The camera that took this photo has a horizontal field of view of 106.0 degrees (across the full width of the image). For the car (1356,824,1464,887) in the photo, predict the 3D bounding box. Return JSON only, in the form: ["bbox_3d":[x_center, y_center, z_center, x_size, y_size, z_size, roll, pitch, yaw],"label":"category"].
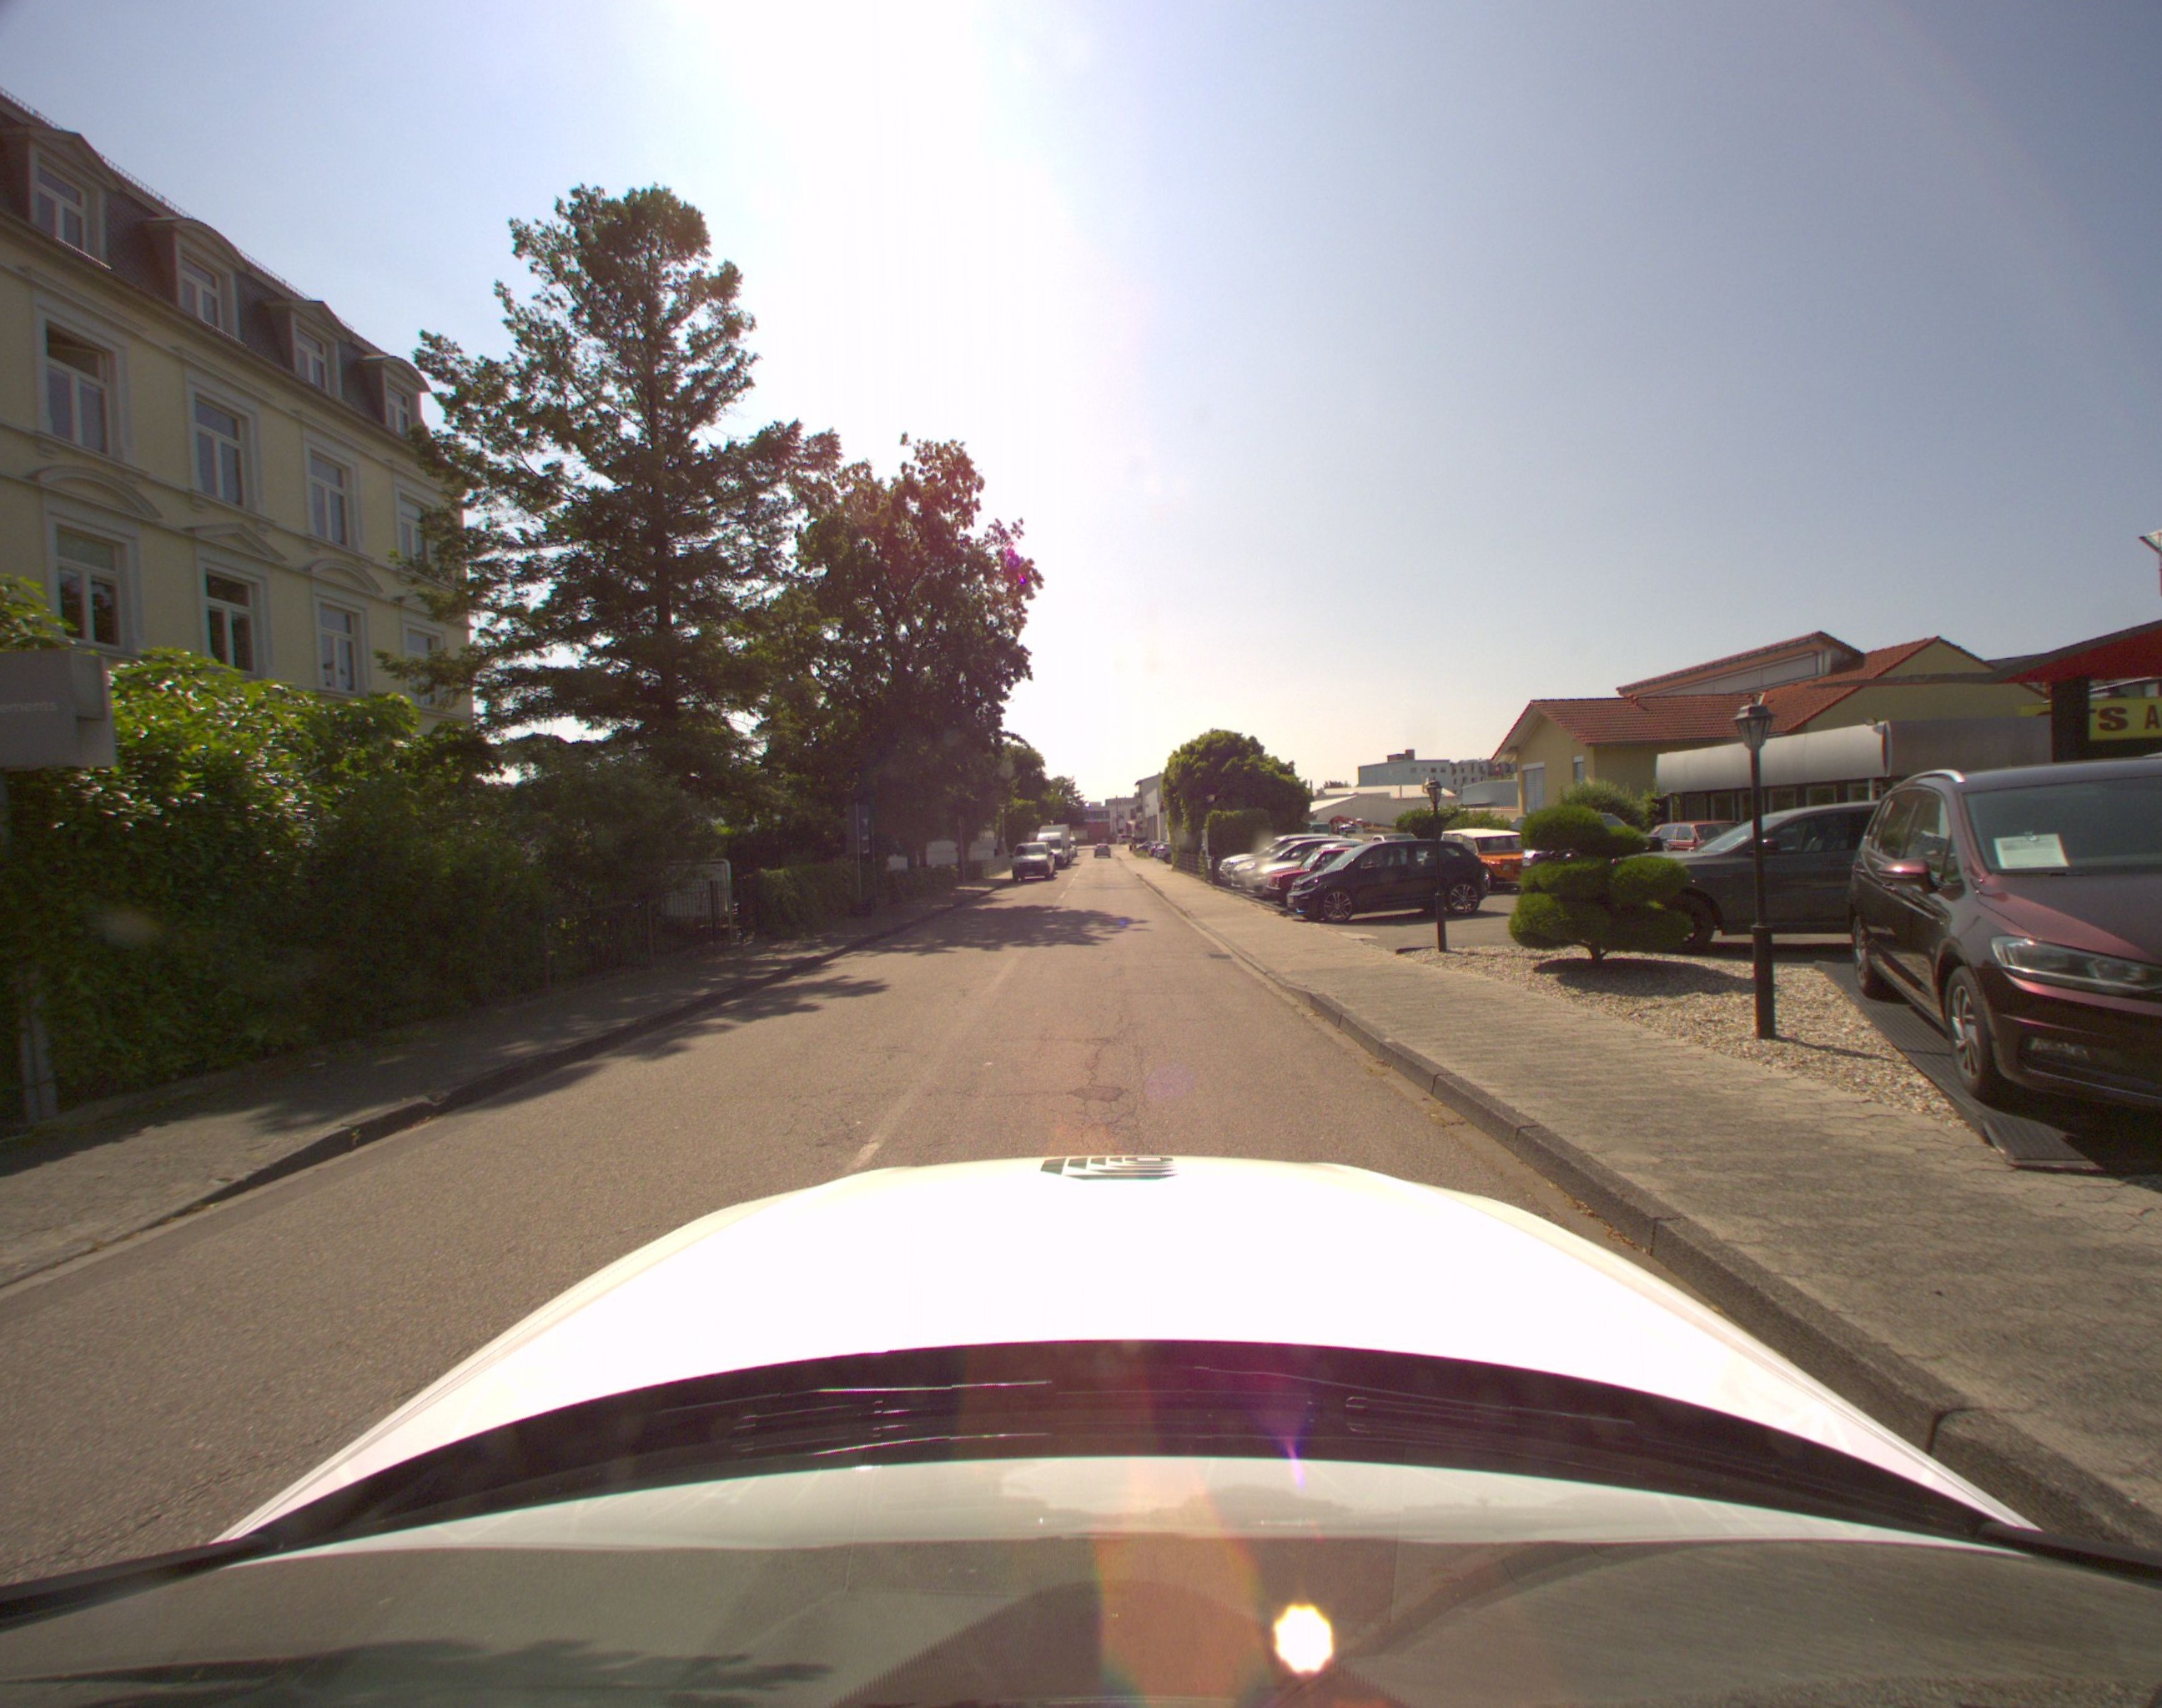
[{"bbox_3d":[10.541,0.045,26.400,1.987,1.860,3.789,-1,0,0],"label":"car"}]

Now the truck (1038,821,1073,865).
[{"bbox_3d":[-2.140,-0.877,68.752,2.678,3.366,7.125,-3,0,-2],"label":"truck"}]

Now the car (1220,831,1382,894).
[{"bbox_3d":[6.718,0.256,25.145,4.395,1.527,1.894,-4,0,-5],"label":"car"}]

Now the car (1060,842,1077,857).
[{"bbox_3d":[-1.464,-0.545,92.587,1.701,1.624,3.969,-4,1,-3],"label":"car"}]

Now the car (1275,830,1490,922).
[{"bbox_3d":[6.166,0.423,16.971,3.791,1.624,1.759,-3,0,-1],"label":"car"}]

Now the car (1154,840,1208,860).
[{"bbox_3d":[8.404,-0.331,68.844,4.338,1.441,1.892,-3,1,0],"label":"car"}]

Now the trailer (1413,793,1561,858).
[{"bbox_3d":[27.181,-1.868,54.867,8.291,3.862,3.073,-2,0,6],"label":"trailer"}]

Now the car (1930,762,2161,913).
[{"bbox_3d":[16.683,-0.341,12.576,4.525,2.150,1.935,-3,1,18],"label":"car"}]

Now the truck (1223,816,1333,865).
[{"bbox_3d":[14.431,-1.017,59.933,7.491,3.422,2.528,1,1,1],"label":"truck"}]

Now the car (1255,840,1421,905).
[{"bbox_3d":[6.226,0.437,19.986,3.538,1.335,1.558,-3,0,-1],"label":"car"}]

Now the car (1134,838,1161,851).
[{"bbox_3d":[8.111,-1.117,99.408,3.241,1.398,1.674,-3,1,1],"label":"car"}]

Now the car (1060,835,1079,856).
[{"bbox_3d":[-1.398,-1.060,97.757,1.999,2.366,5.228,-5,1,-1],"label":"car"}]

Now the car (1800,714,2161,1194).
[{"bbox_3d":[5.606,0.295,4.538,1.829,1.782,4.318,-3,0,35],"label":"car"}]

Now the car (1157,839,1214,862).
[{"bbox_3d":[8.040,-0.258,62.722,4.187,1.682,1.767,1,1,0],"label":"car"}]

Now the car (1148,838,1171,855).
[{"bbox_3d":[7.854,-0.792,82.249,1.852,1.567,4.952,-3,1,1],"label":"car"}]

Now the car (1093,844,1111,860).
[{"bbox_3d":[2.253,-0.204,88.671,1.884,1.685,3.958,-2,0,1],"label":"car"}]

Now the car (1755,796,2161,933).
[{"bbox_3d":[12.730,0.164,11.481,4.522,1.636,1.936,-3,-1,22],"label":"car"}]

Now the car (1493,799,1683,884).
[{"bbox_3d":[13.829,-0.329,22.656,1.989,2.013,4.901,-3,0,-3],"label":"car"}]

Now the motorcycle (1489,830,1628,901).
[{"bbox_3d":[10.894,0.242,18.614,2.682,1.433,1.007,-3,0,-10],"label":"motorcycle"}]

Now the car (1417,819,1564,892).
[{"bbox_3d":[11.000,0.021,22.227,1.987,1.728,4.000,-3,0,0],"label":"car"}]

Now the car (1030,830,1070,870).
[{"bbox_3d":[-2.156,-0.299,58.858,2.160,2.595,6.924,-4,0,2],"label":"car"}]

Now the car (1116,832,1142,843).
[{"bbox_3d":[9.353,-3.228,158.996,4.667,1.957,1.905,-3,1,-18],"label":"car"}]

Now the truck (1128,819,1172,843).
[{"bbox_3d":[12.729,-4.220,150.536,7.348,3.644,2.763,-6,2,-5],"label":"truck"}]

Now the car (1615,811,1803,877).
[{"bbox_3d":[17.407,-0.278,22.855,1.990,1.596,3.994,-3,0,-4],"label":"car"}]

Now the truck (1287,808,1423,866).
[{"bbox_3d":[18.588,-1.150,55.615,8.240,3.610,2.956,-2,1,3],"label":"truck"}]

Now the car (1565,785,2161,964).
[{"bbox_3d":[8.912,0.260,9.997,4.934,1.762,1.937,-2,1,27],"label":"car"}]

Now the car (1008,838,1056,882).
[{"bbox_3d":[-2.486,0.264,42.872,1.964,2.013,5.058,-4,0,1],"label":"car"}]

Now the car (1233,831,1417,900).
[{"bbox_3d":[6.647,0.295,22.471,4.395,1.497,1.894,-4,0,-5],"label":"car"}]

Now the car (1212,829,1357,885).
[{"bbox_3d":[6.820,0.092,27.580,4.391,1.653,1.842,-3,1,-2],"label":"car"}]

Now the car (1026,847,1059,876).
[{"bbox_3d":[-2.331,0.417,50.048,1.709,1.543,4.400,-4,0,0],"label":"car"}]
